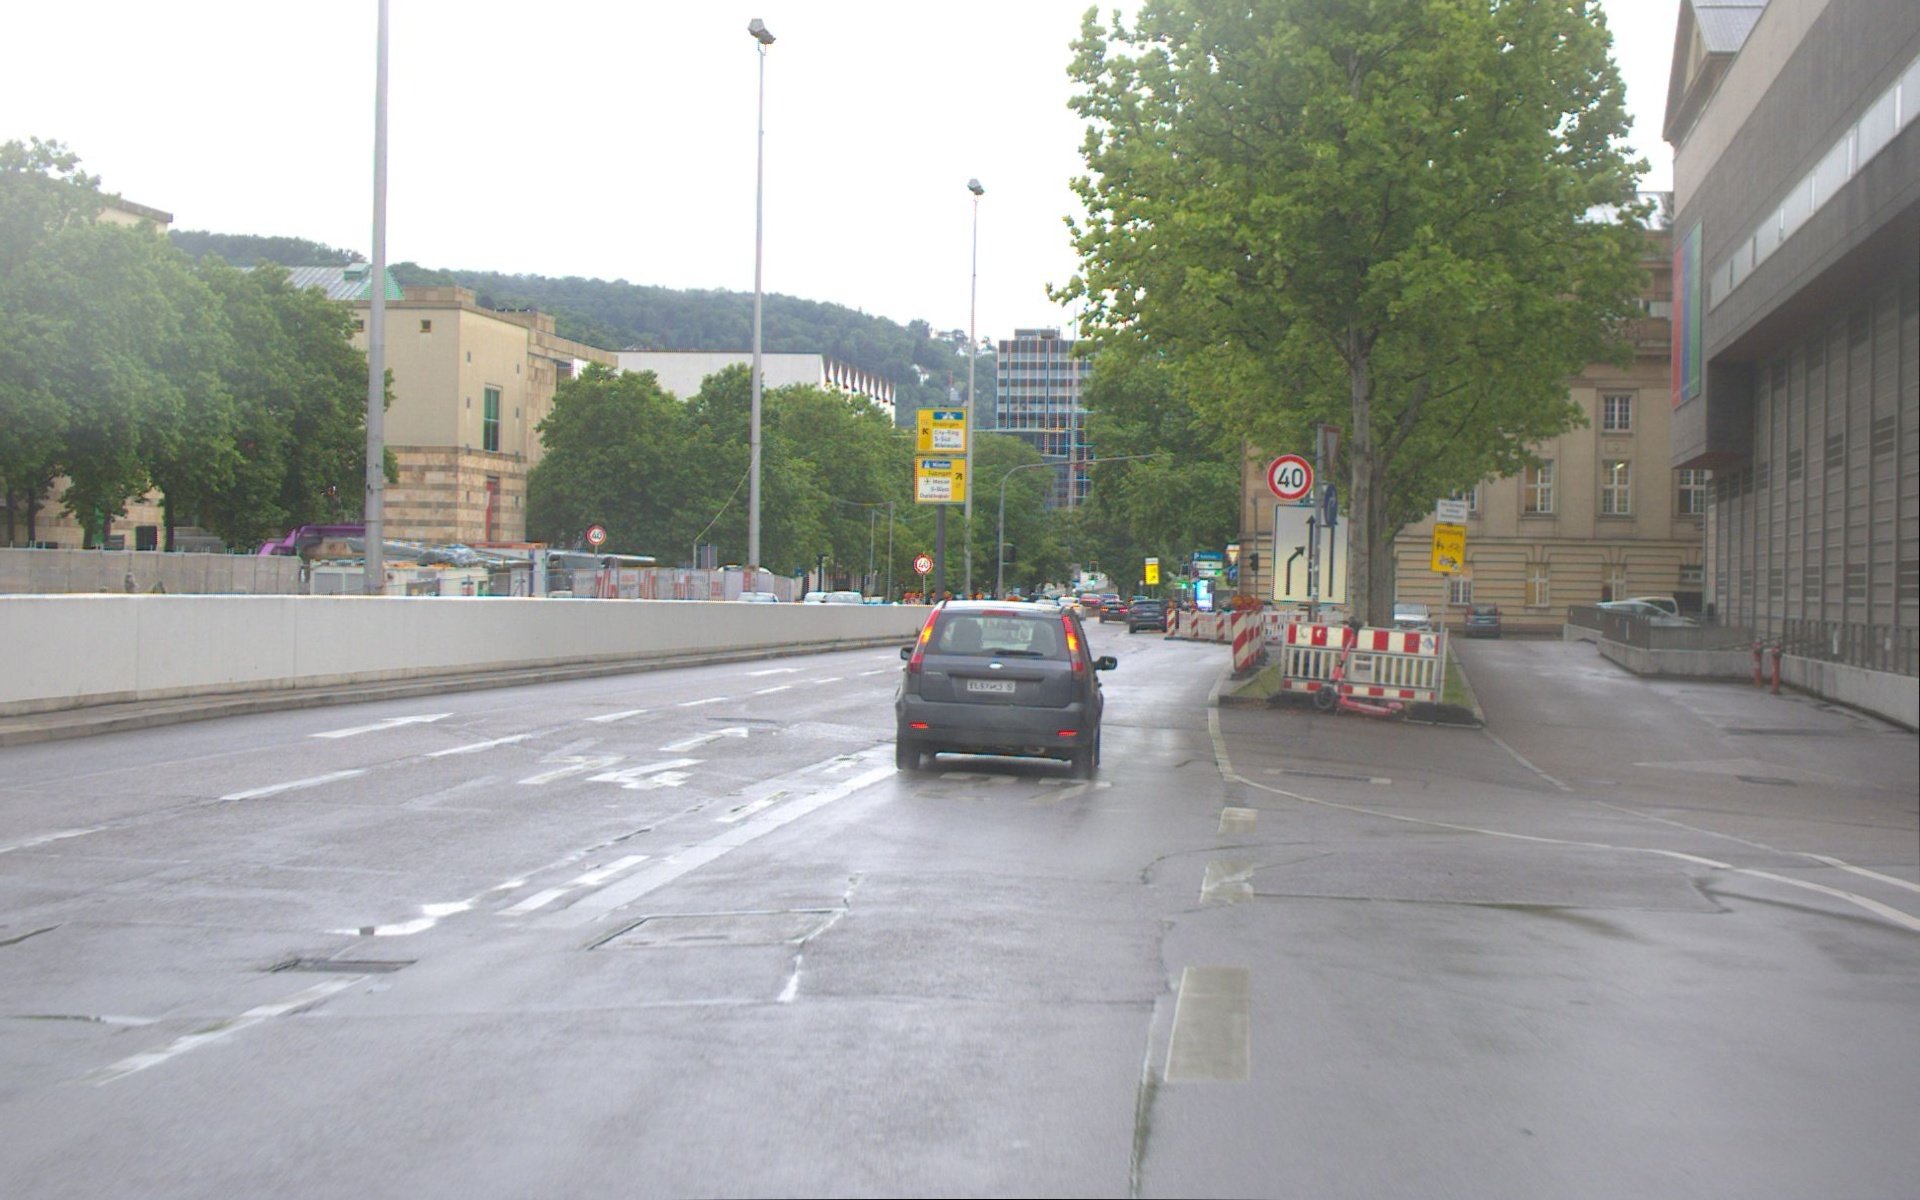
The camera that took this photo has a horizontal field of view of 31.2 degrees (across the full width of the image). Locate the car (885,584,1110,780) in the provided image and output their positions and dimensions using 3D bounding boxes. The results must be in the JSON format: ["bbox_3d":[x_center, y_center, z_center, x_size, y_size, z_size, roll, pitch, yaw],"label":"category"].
[{"bbox_3d":[0.377,0.643,29.321,1.670,1.422,3.757,3,2,4],"label":"car"}]

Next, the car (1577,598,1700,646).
[{"bbox_3d":[23.149,0.772,117.404,3.988,1.554,1.932,0,-3,6],"label":"car"}]

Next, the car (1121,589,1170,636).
[{"bbox_3d":[8.539,0.579,157.944,1.994,2.007,3.999,2,1,5],"label":"car"}]

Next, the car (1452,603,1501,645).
[{"bbox_3d":[23.109,1.075,153.762,1.994,1.703,3.998,3,-1,10],"label":"car"}]

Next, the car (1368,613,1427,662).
[{"bbox_3d":[16.882,1.439,132.663,1.994,1.703,3.998,3,1,10],"label":"car"}]

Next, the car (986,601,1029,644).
[{"bbox_3d":[1.586,0.754,114.590,1.385,1.382,3.067,1,-1,1],"label":"car"}]

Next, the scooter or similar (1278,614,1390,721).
[{"bbox_3d":[4.807,0.867,44.190,1.356,1.281,0.619,3,-1,7],"label":"scooter or similar"}]

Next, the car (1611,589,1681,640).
[{"bbox_3d":[24.955,0.546,125.211,1.994,1.754,5.095,1,-1,6],"label":"car"}]

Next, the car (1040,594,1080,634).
[{"bbox_3d":[5.499,0.780,189.460,1.993,2.007,4.000,3,-1,1],"label":"car"}]
